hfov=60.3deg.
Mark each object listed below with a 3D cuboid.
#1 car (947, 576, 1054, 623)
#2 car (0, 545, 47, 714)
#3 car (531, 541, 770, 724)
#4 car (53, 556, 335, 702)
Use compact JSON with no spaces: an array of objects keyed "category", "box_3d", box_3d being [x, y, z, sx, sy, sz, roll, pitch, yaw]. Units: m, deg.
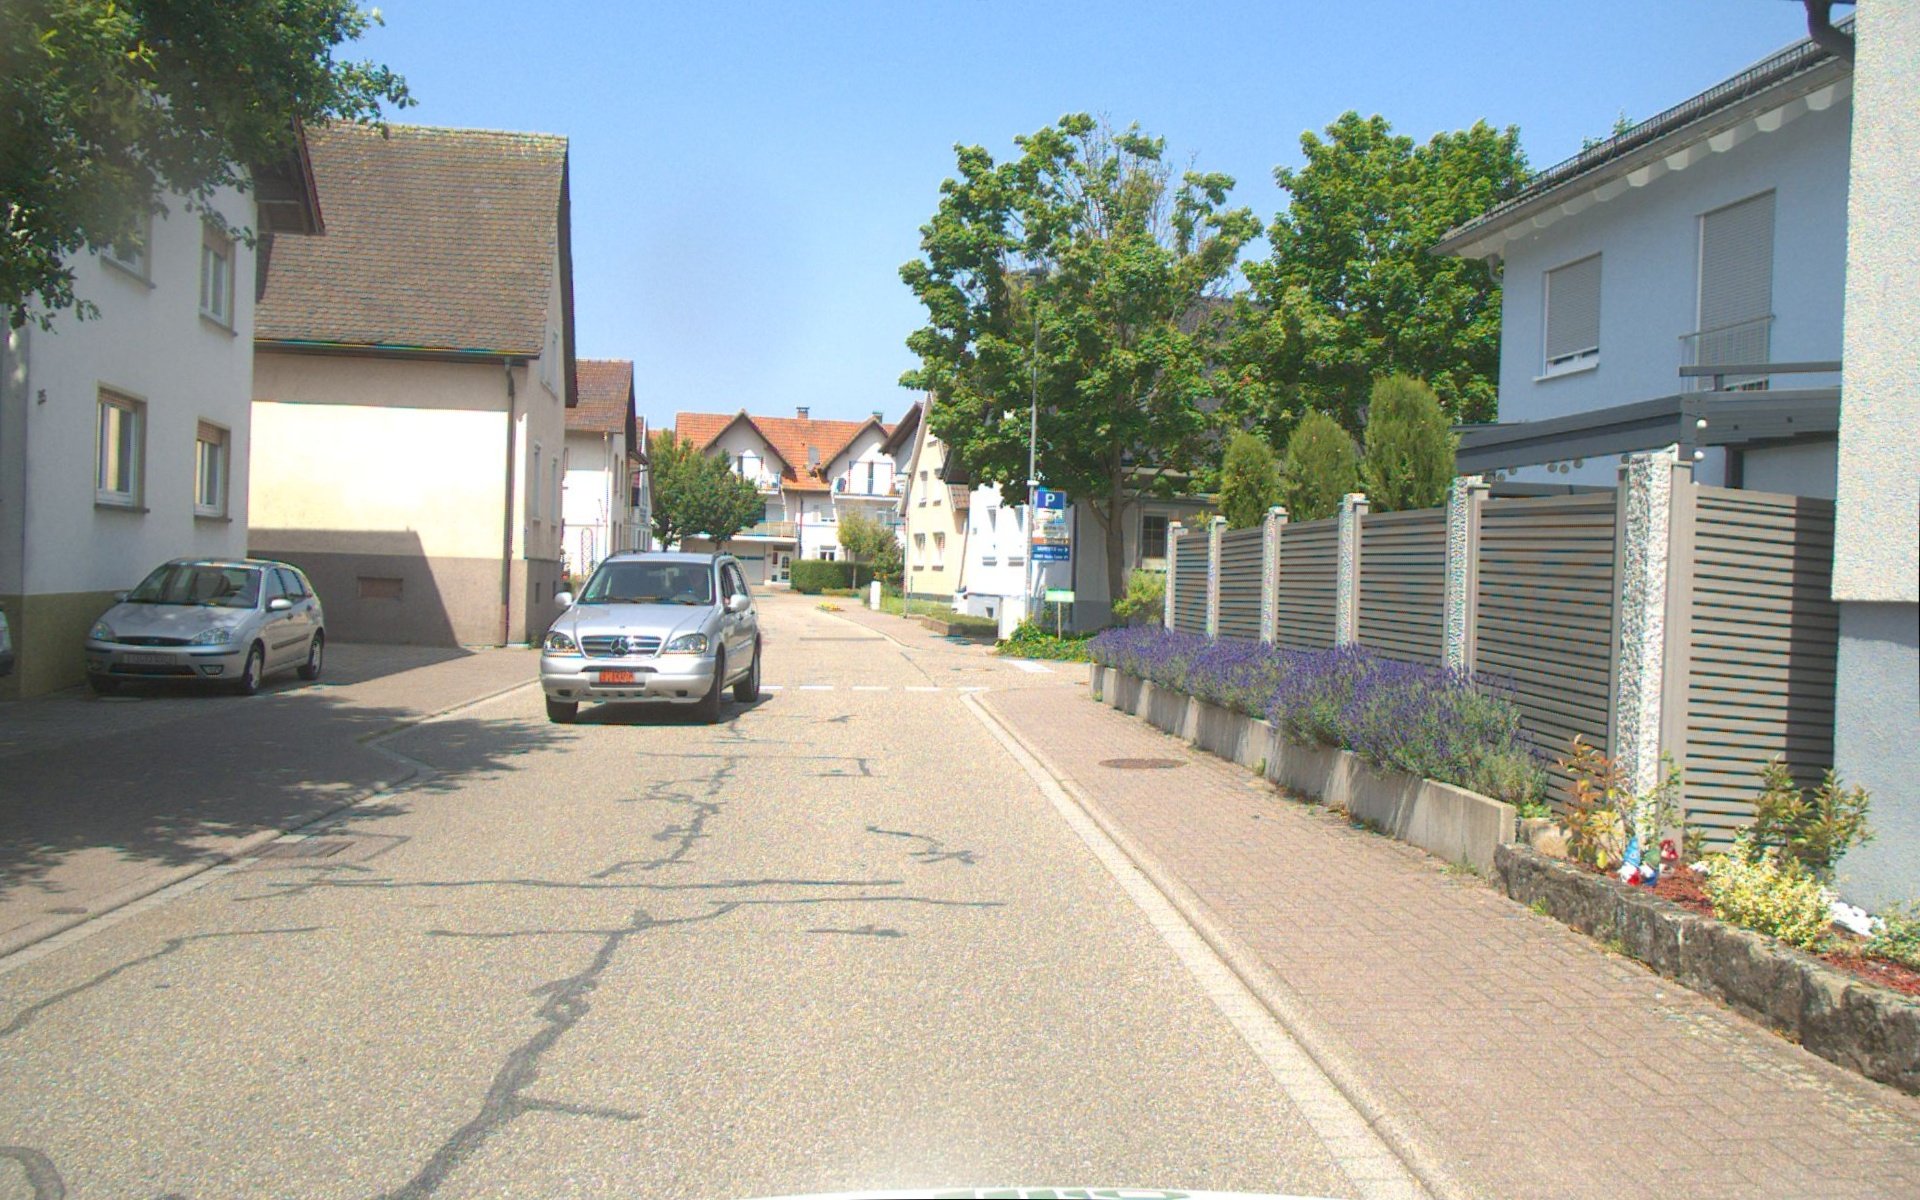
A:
[{"category":"car","box_3d":[1.228,-0.016,50.420,2.992,1.369,1.417,1,0,-15]},{"category":"car","box_3d":[-10.905,0.284,15.109,4.079,1.565,1.772,0,1,-6]},{"category":"car","box_3d":[-3.295,0.307,18.462,1.847,1.798,4.331,0,0,0]},{"category":"car","box_3d":[-8.689,0.255,19.147,1.744,1.459,4.050,2,1,-7]}]
